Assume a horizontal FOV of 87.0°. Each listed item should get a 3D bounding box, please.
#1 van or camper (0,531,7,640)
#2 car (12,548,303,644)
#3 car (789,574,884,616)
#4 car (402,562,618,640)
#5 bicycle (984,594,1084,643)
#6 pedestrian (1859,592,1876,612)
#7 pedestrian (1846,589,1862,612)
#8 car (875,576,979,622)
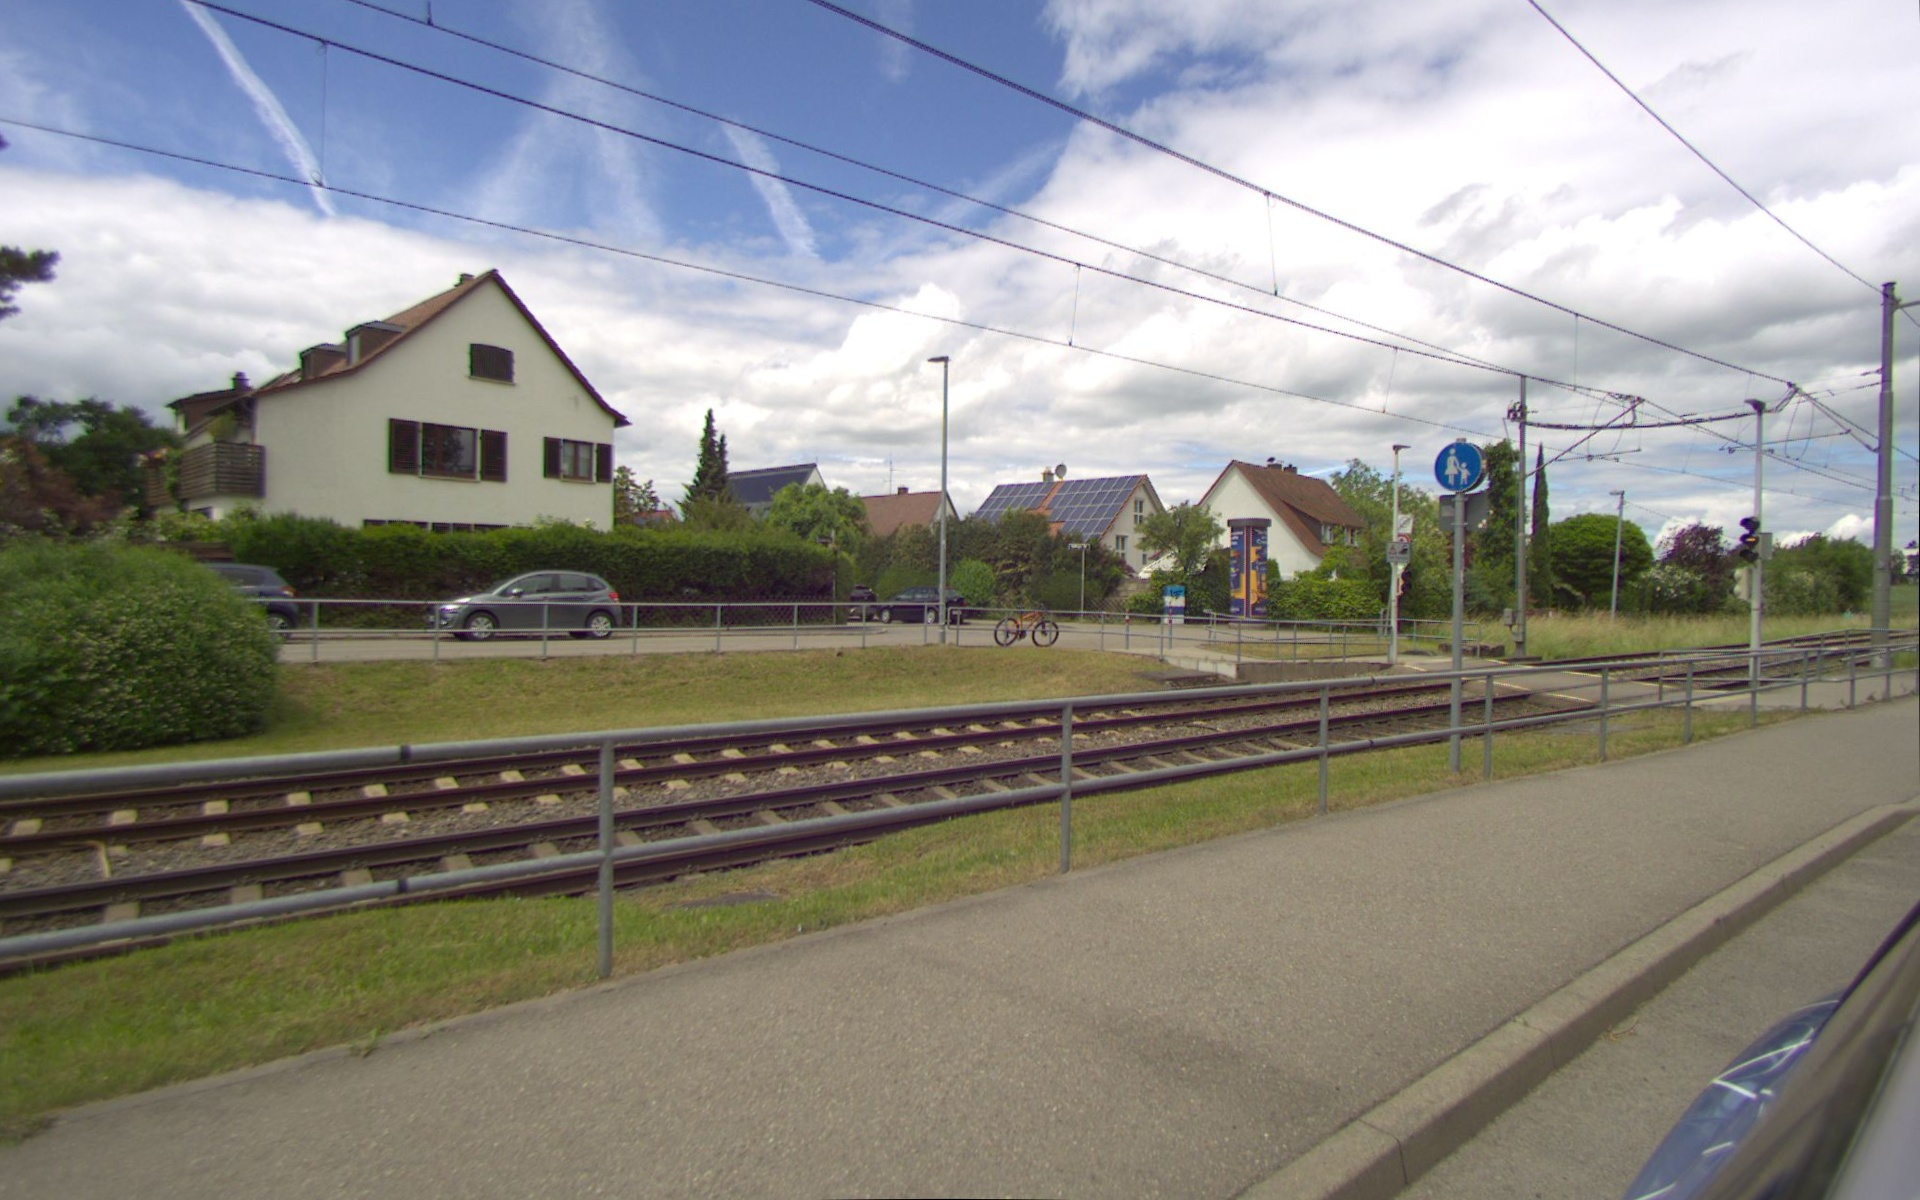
[{"bbox_3d":[-17.957,-0.228,15.283,4.953,1.848,1.911,0,1,-36],"label":"van or camper"},{"bbox_3d":[-14.212,-0.082,18.213,3.925,1.541,1.889,0,1,-36],"label":"car"},{"bbox_3d":[-5.109,-0.238,41.577,3.960,1.643,1.796,1,1,44],"label":"car"},{"bbox_3d":[-9.652,-0.003,21.809,3.926,1.541,1.889,0,1,-37],"label":"car"},{"bbox_3d":[1.733,0.435,23.374,2.492,1.058,0.540,1,2,-36],"label":"bicycle"},{"bbox_3d":[65.036,0.156,72.521,0.653,1.449,0.600,-1,-1,-5],"label":"pedestrian"},{"bbox_3d":[64.721,0.066,73.284,0.572,1.643,0.619,-1,-1,-6],"label":"pedestrian"},{"bbox_3d":[-1.300,-0.068,38.538,3.713,1.643,1.799,1,1,39],"label":"car"}]
